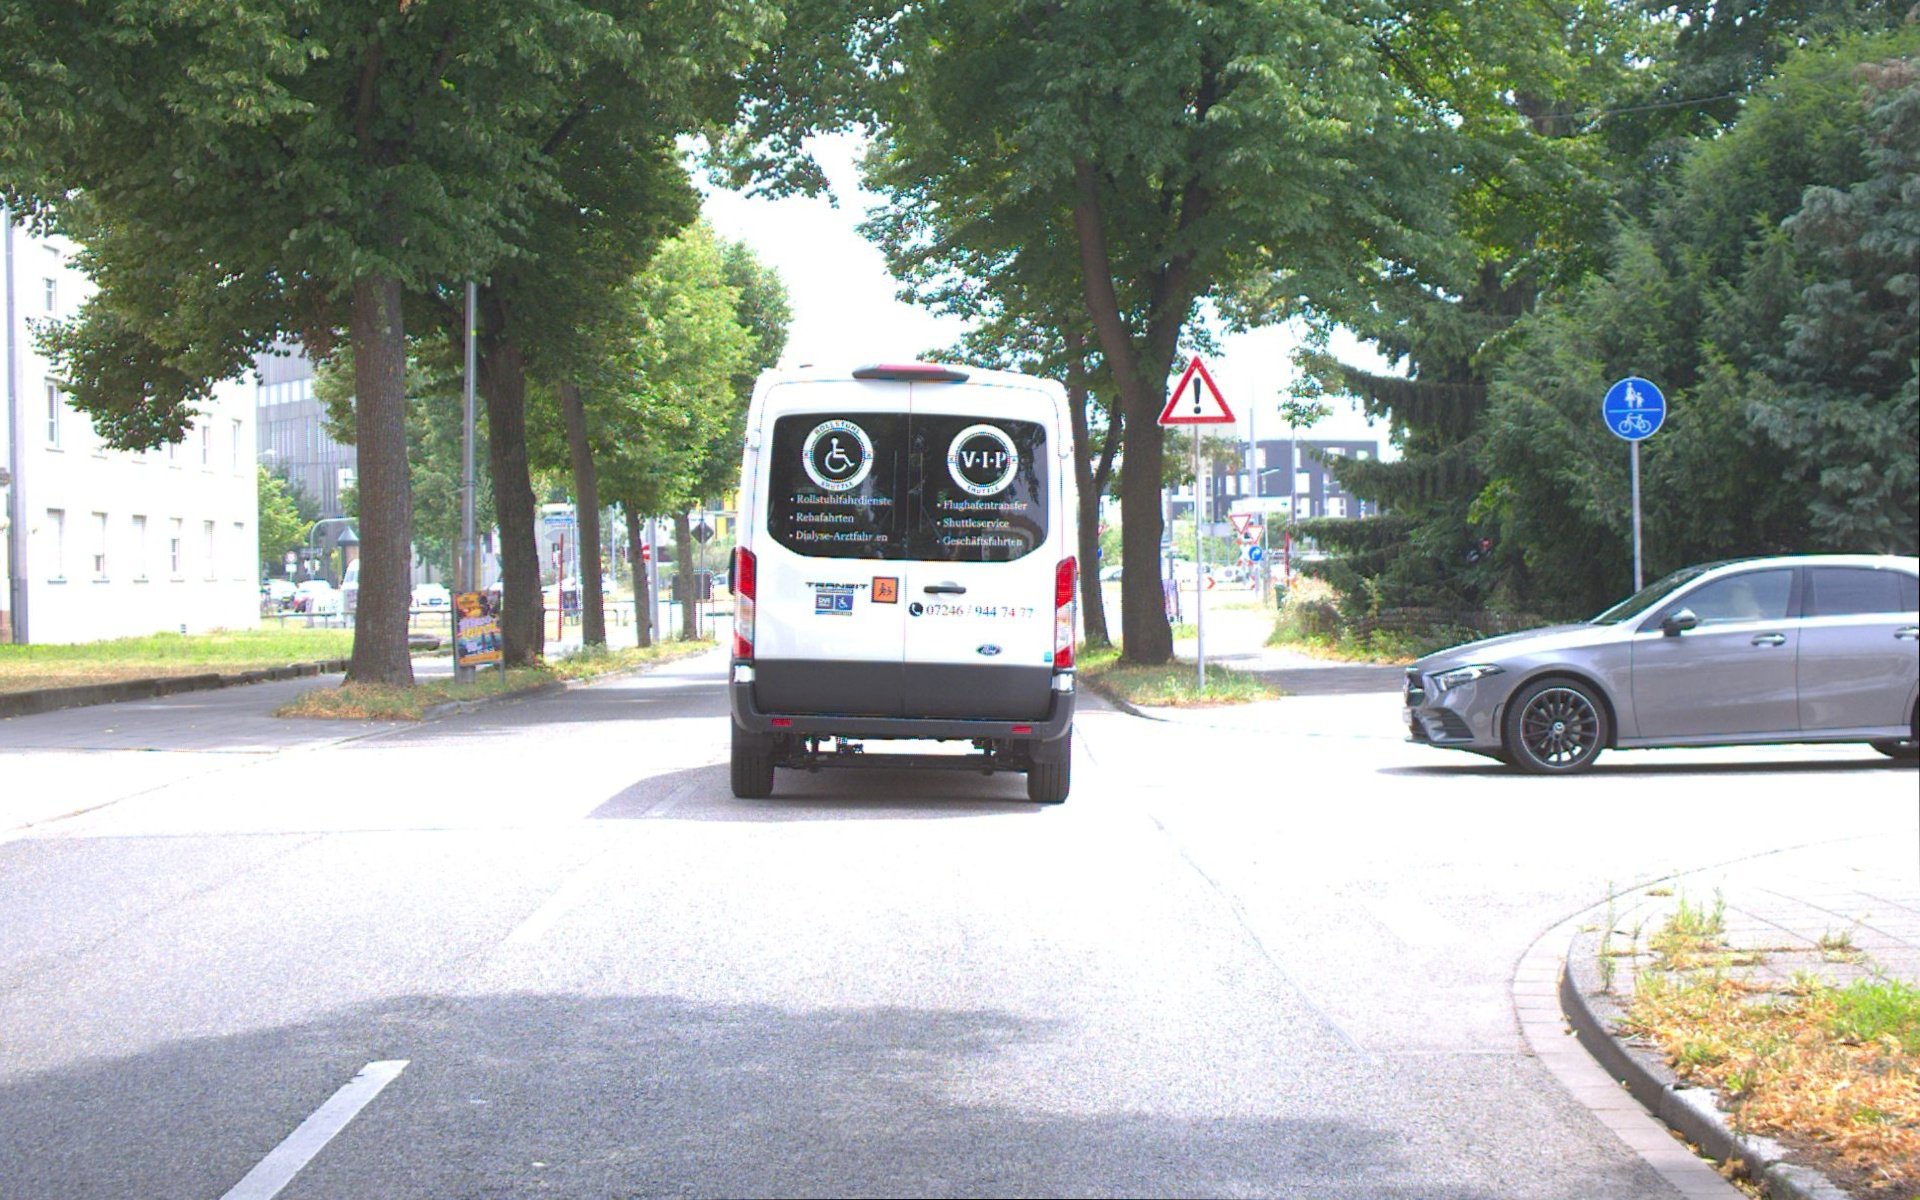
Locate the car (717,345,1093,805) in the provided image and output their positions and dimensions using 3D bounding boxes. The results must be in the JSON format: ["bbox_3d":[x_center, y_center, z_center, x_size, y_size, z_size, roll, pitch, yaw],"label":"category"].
[{"bbox_3d":[-0.423,-0.121,21.156,2.062,2.531,4.000,1,-1,-3],"label":"car"}]

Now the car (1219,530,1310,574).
[{"bbox_3d":[13.917,-2.197,156.825,2.011,1.810,4.403,-2,1,38],"label":"car"}]

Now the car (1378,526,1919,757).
[{"bbox_3d":[5.178,0.282,23.616,4.371,1.438,2.011,-1,-1,1],"label":"car"}]

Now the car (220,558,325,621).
[{"bbox_3d":[-33.290,-0.481,166.390,2.611,2.841,5.673,-3,1,-38],"label":"car"}]
